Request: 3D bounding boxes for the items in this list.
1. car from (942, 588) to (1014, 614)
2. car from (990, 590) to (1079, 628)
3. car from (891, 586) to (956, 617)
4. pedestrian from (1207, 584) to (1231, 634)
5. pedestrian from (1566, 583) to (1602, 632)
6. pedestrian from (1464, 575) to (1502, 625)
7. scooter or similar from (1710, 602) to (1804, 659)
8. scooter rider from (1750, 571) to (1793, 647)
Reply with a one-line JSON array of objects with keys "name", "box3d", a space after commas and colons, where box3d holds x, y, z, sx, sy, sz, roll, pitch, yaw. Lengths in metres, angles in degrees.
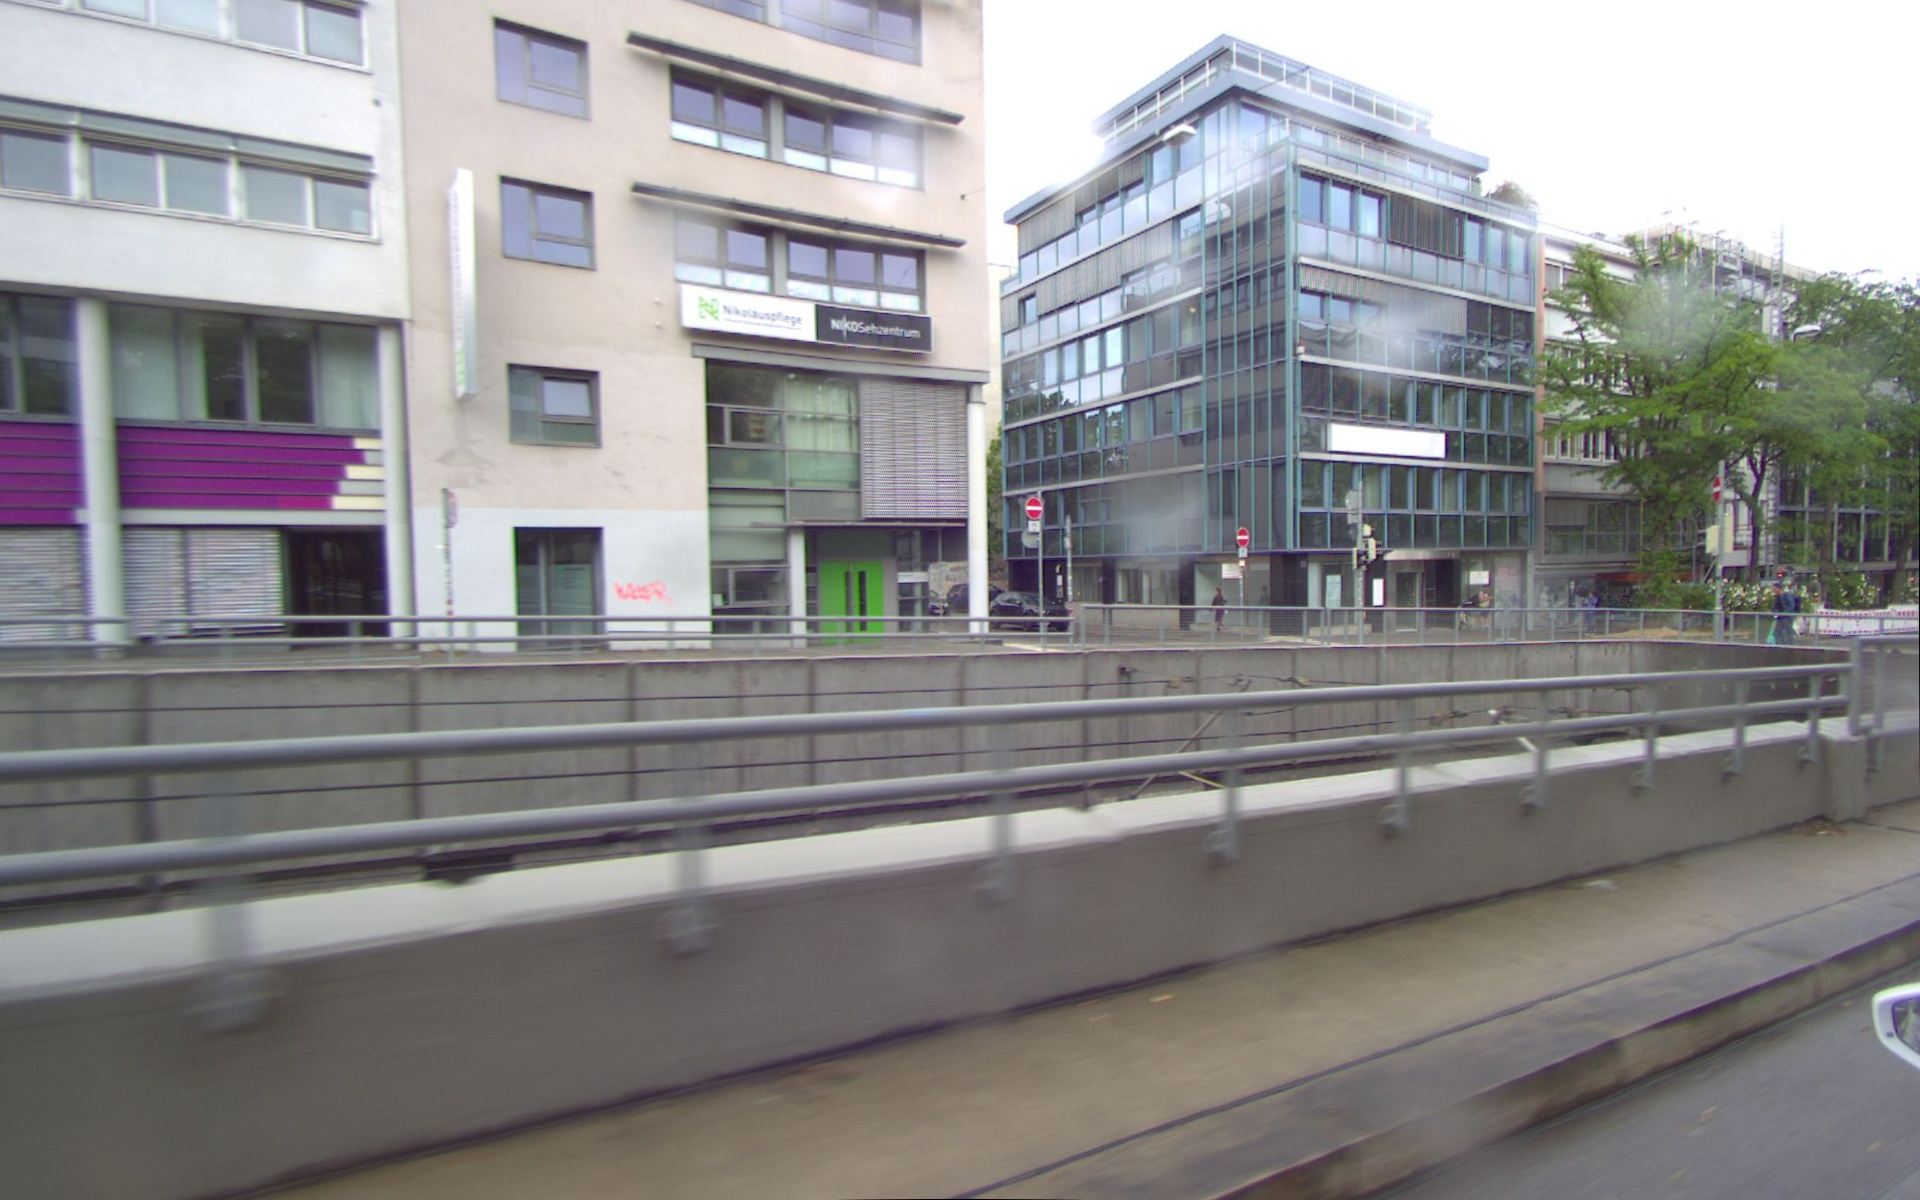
[{"name": "car", "box3d": [1.040, 0.074, 58.884, 3.846, 1.445, 1.799, 1, 1, -27]}, {"name": "car", "box3d": [2.957, 0.334, 40.446, 1.788, 1.445, 3.868, 0, 1, -28]}, {"name": "car", "box3d": [-1.832, 0.070, 49.566, 1.671, 1.445, 3.868, 0, 1, -28]}, {"name": "pedestrian", "box3d": [9.010, 0.305, 34.929, 0.482, 1.694, 0.661, 0, 1, -30]}, {"name": "pedestrian", "box3d": [24.995, 0.288, 40.232, 0.856, 1.893, 0.873, 0, 2, -30]}, {"name": "pedestrian", "box3d": [20.144, 0.007, 38.707, 0.943, 1.893, 0.865, 1, 2, -11]}, {"name": "scooter or similar", "box3d": [21.382, 0.796, 26.970, 1.926, 1.438, 0.545, 2, 2, 42]}, {"name": "scooter rider", "box3d": [21.650, 0.235, 26.812, 0.810, 1.974, 0.807, 3, 2, 41]}]
